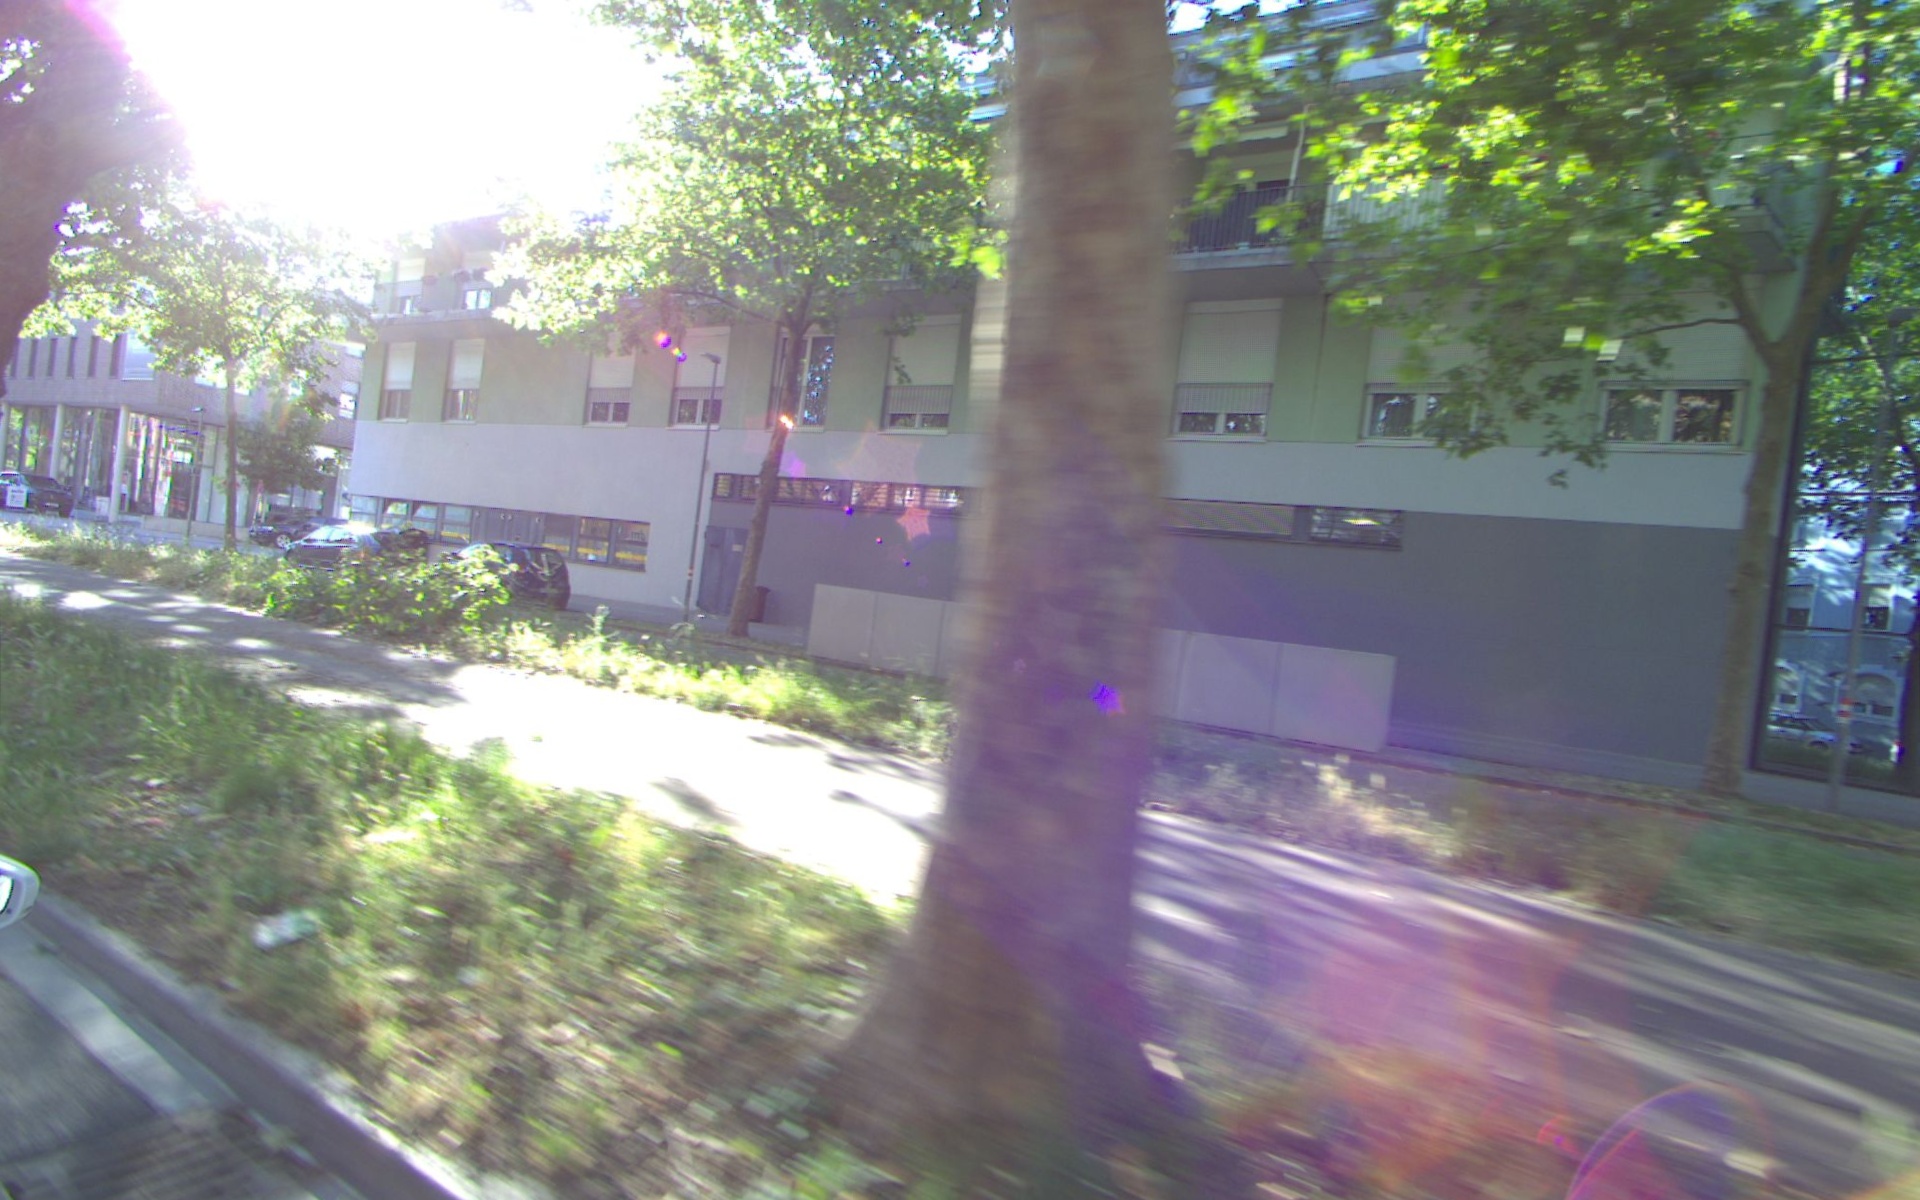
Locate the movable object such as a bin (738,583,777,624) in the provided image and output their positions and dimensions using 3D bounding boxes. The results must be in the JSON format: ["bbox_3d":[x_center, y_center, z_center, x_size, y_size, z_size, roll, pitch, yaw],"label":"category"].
[{"bbox_3d":[-5.234,0.087,25.985,0.652,0.955,0.629,7,1,31],"label":"movable object such as a bin"}]

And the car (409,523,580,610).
[{"bbox_3d":[-11.154,-0.808,24.087,3.697,1.572,1.861,7,0,31],"label":"car"}]

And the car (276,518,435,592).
[{"bbox_3d":[-16.441,-1.221,27.333,4.053,1.487,1.862,7,0,29],"label":"car"}]

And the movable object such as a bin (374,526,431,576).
[{"bbox_3d":[-18.868,-1.657,34.036,1.388,1.481,1.191,7,1,42],"label":"movable object such as a bin"}]

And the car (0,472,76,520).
[{"bbox_3d":[-43.575,-4.910,47.143,4.110,1.755,1.988,7,0,31],"label":"car"}]

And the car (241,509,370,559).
[{"bbox_3d":[-30.039,-2.996,46.314,1.995,1.683,4.490,8,1,28],"label":"car"}]
